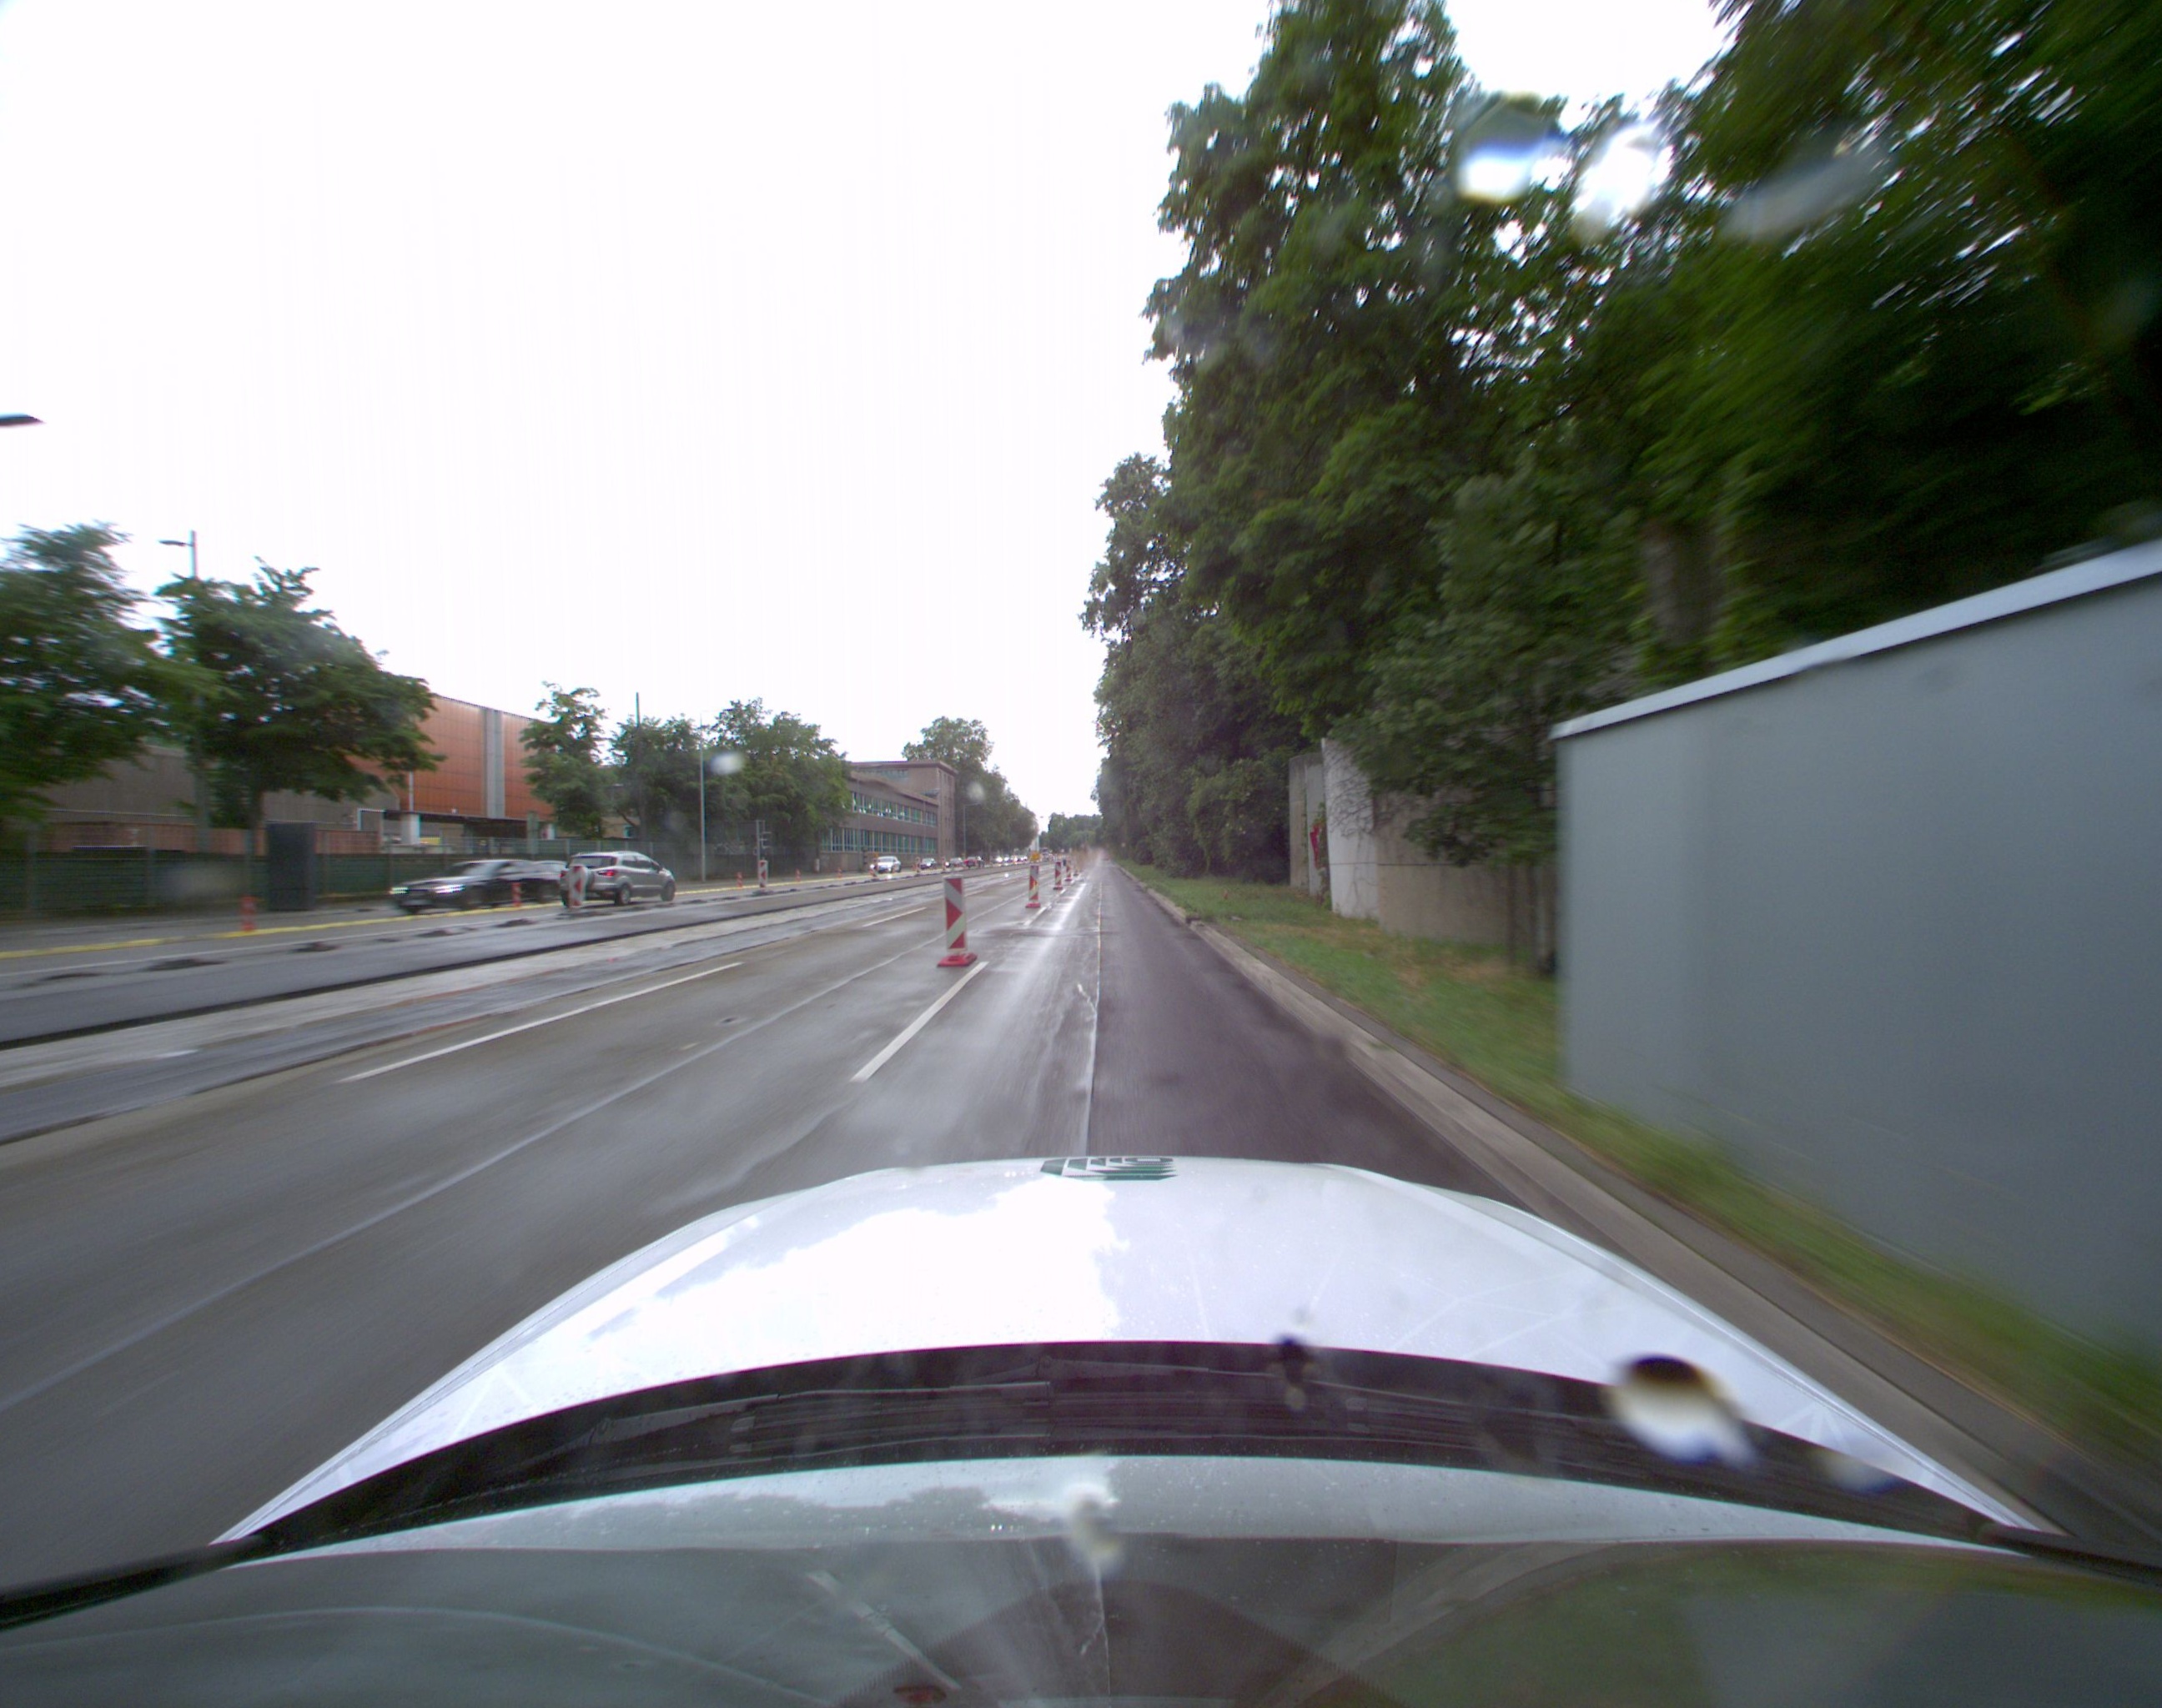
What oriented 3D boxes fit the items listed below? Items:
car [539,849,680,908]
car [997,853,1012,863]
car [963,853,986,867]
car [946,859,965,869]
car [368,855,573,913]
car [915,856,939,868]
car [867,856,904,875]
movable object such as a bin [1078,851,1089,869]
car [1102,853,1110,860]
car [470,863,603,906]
[{"bbox_3d":[-14.116,0.700,24.698,1.848,1.648,4.001,0,-1,1],"label":"car"},{"bbox_3d":[-14.065,0.674,149.890,1.980,1.768,4.678,0,-1,3],"label":"car"},{"bbox_3d":[-12.268,0.714,93.753,1.986,1.519,4.001,0,-1,1],"label":"car"},{"bbox_3d":[-17.369,1.382,112.875,2.040,1.454,4.762,0,-1,-1],"label":"car"},{"bbox_3d":[-17.632,0.793,23.928,2.070,1.513,5.091,0,0,2],"label":"car"},{"bbox_3d":[-18.178,0.943,96.455,1.987,1.429,4.265,-1,0,0],"label":"car"},{"bbox_3d":[-16.576,0.966,69.194,1.986,1.513,4.267,-1,0,2],"label":"car"},{"bbox_3d":[0.503,1.214,157.124,1.986,3.367,5.984,0,-1,2],"label":"movable object such as a bin"},{"bbox_3d":[6.110,0.730,198.886,1.986,1.673,4.001,0,-1,2],"label":"car"},{"bbox_3d":[-20.321,1.088,30.653,1.986,1.518,4.306,0,-1,1],"label":"car"}]
